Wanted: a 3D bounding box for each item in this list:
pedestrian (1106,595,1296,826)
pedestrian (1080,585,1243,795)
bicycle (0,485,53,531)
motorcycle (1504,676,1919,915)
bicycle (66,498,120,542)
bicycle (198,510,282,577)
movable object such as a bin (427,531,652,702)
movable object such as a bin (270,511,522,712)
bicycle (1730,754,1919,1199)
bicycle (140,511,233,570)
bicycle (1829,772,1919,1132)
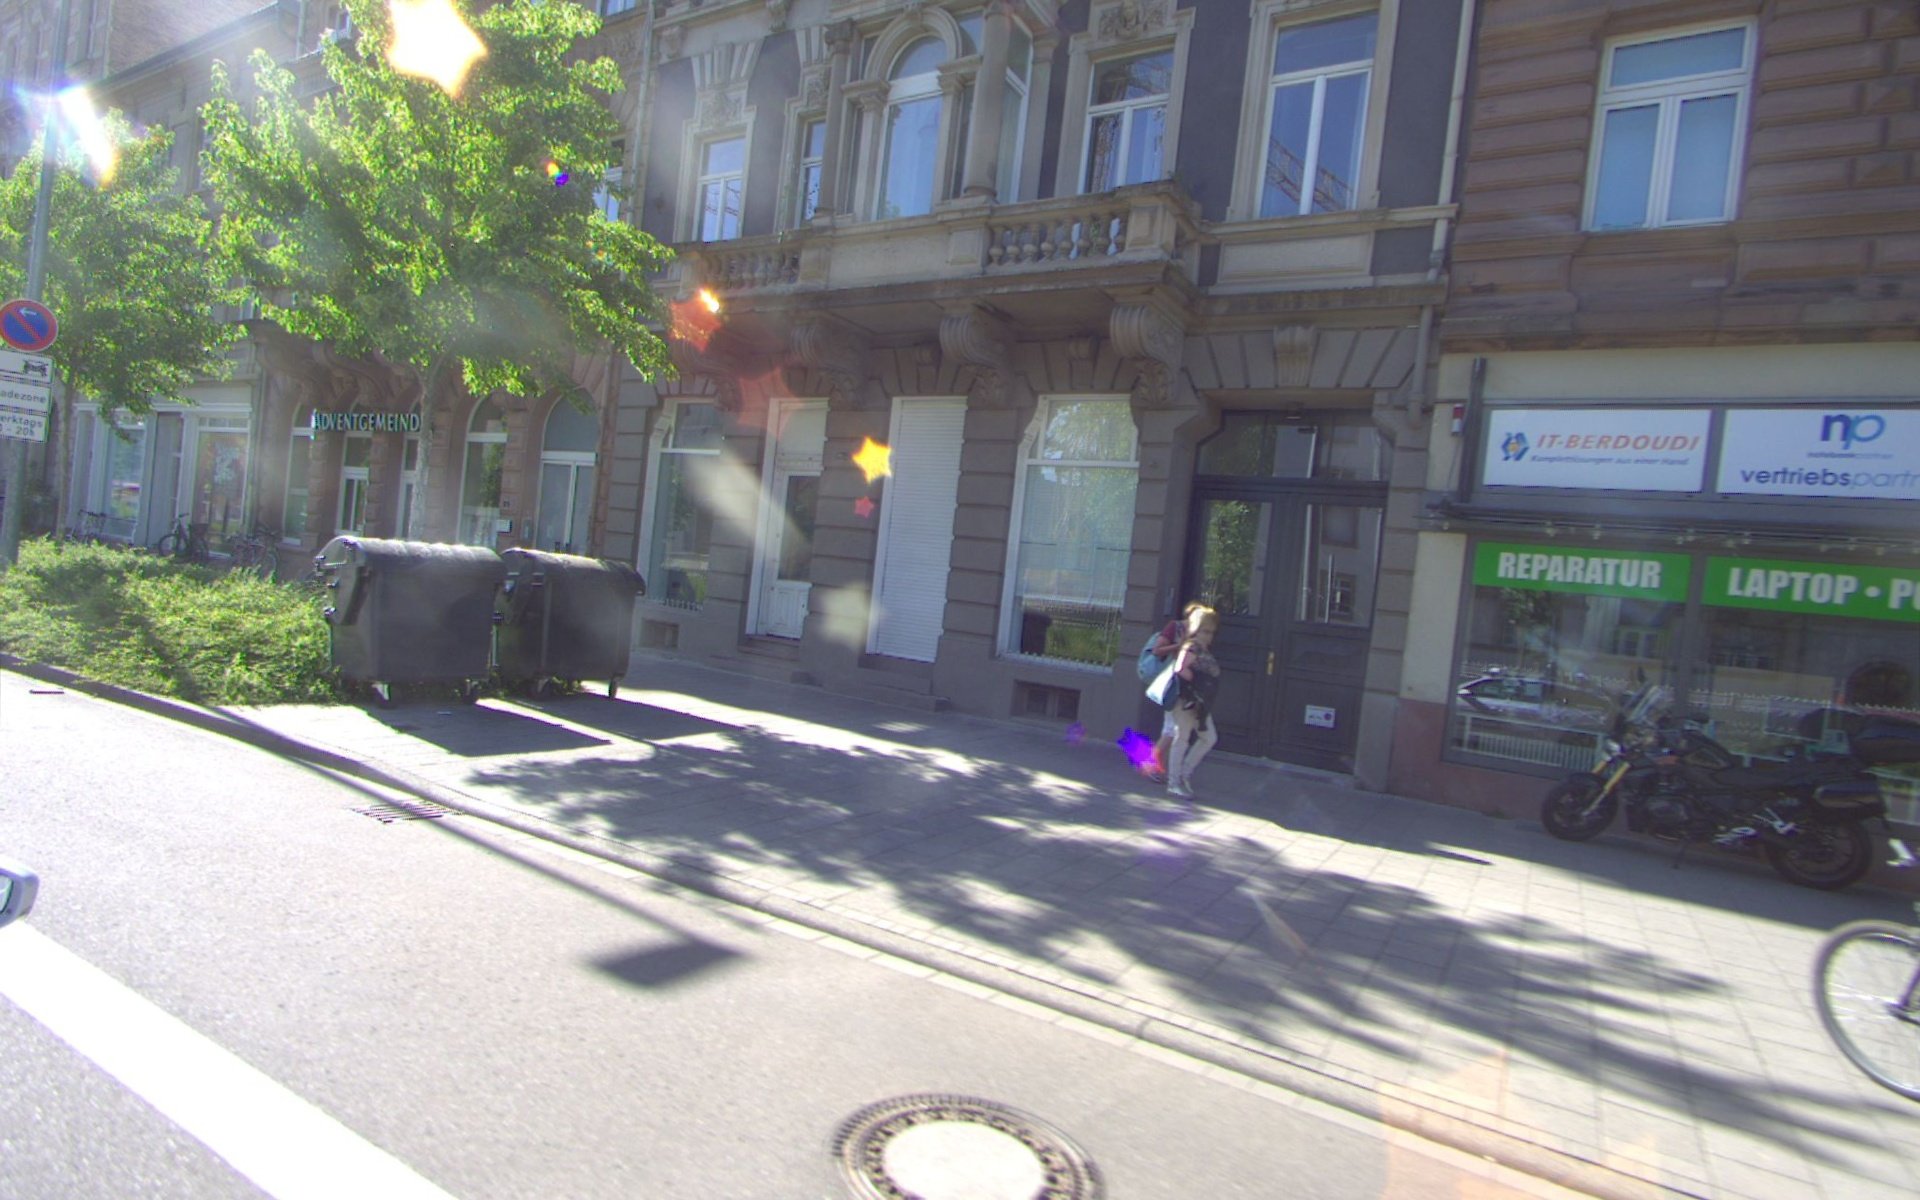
[{"bbox_3d":[1.940,0.836,8.070,1.062,1.587,0.951,8,3,31],"label":"pedestrian"},{"bbox_3d":[1.828,0.771,9.059,0.976,1.661,0.971,8,3,31],"label":"pedestrian"},{"bbox_3d":[-26.728,-2.637,28.647,2.162,1.104,0.721,7,2,32],"label":"bicycle"},{"bbox_3d":[5.871,1.410,7.617,2.932,1.281,0.867,6,0,31],"label":"motorcycle"},{"bbox_3d":[-22.831,-2.110,26.481,1.979,0.956,0.447,7,1,32],"label":"bicycle"},{"bbox_3d":[-15.081,-1.193,21.071,1.771,1.217,0.748,6,2,32],"label":"bicycle"},{"bbox_3d":[-4.373,0.140,10.484,1.720,1.516,1.373,6,3,33],"label":"movable object such as a bin"},{"bbox_3d":[-5.061,0.110,9.030,1.618,1.481,1.271,10,1,36],"label":"movable object such as a bin"},{"bbox_3d":[3.236,1.270,3.409,0.473,1.140,1.975,8,4,26],"label":"bicycle"},{"bbox_3d":[-17.545,-1.353,22.821,2.144,1.120,0.876,7,4,29],"label":"bicycle"},{"bbox_3d":[3.579,1.305,3.203,0.600,1.122,2.045,7,3,26],"label":"bicycle"}]
